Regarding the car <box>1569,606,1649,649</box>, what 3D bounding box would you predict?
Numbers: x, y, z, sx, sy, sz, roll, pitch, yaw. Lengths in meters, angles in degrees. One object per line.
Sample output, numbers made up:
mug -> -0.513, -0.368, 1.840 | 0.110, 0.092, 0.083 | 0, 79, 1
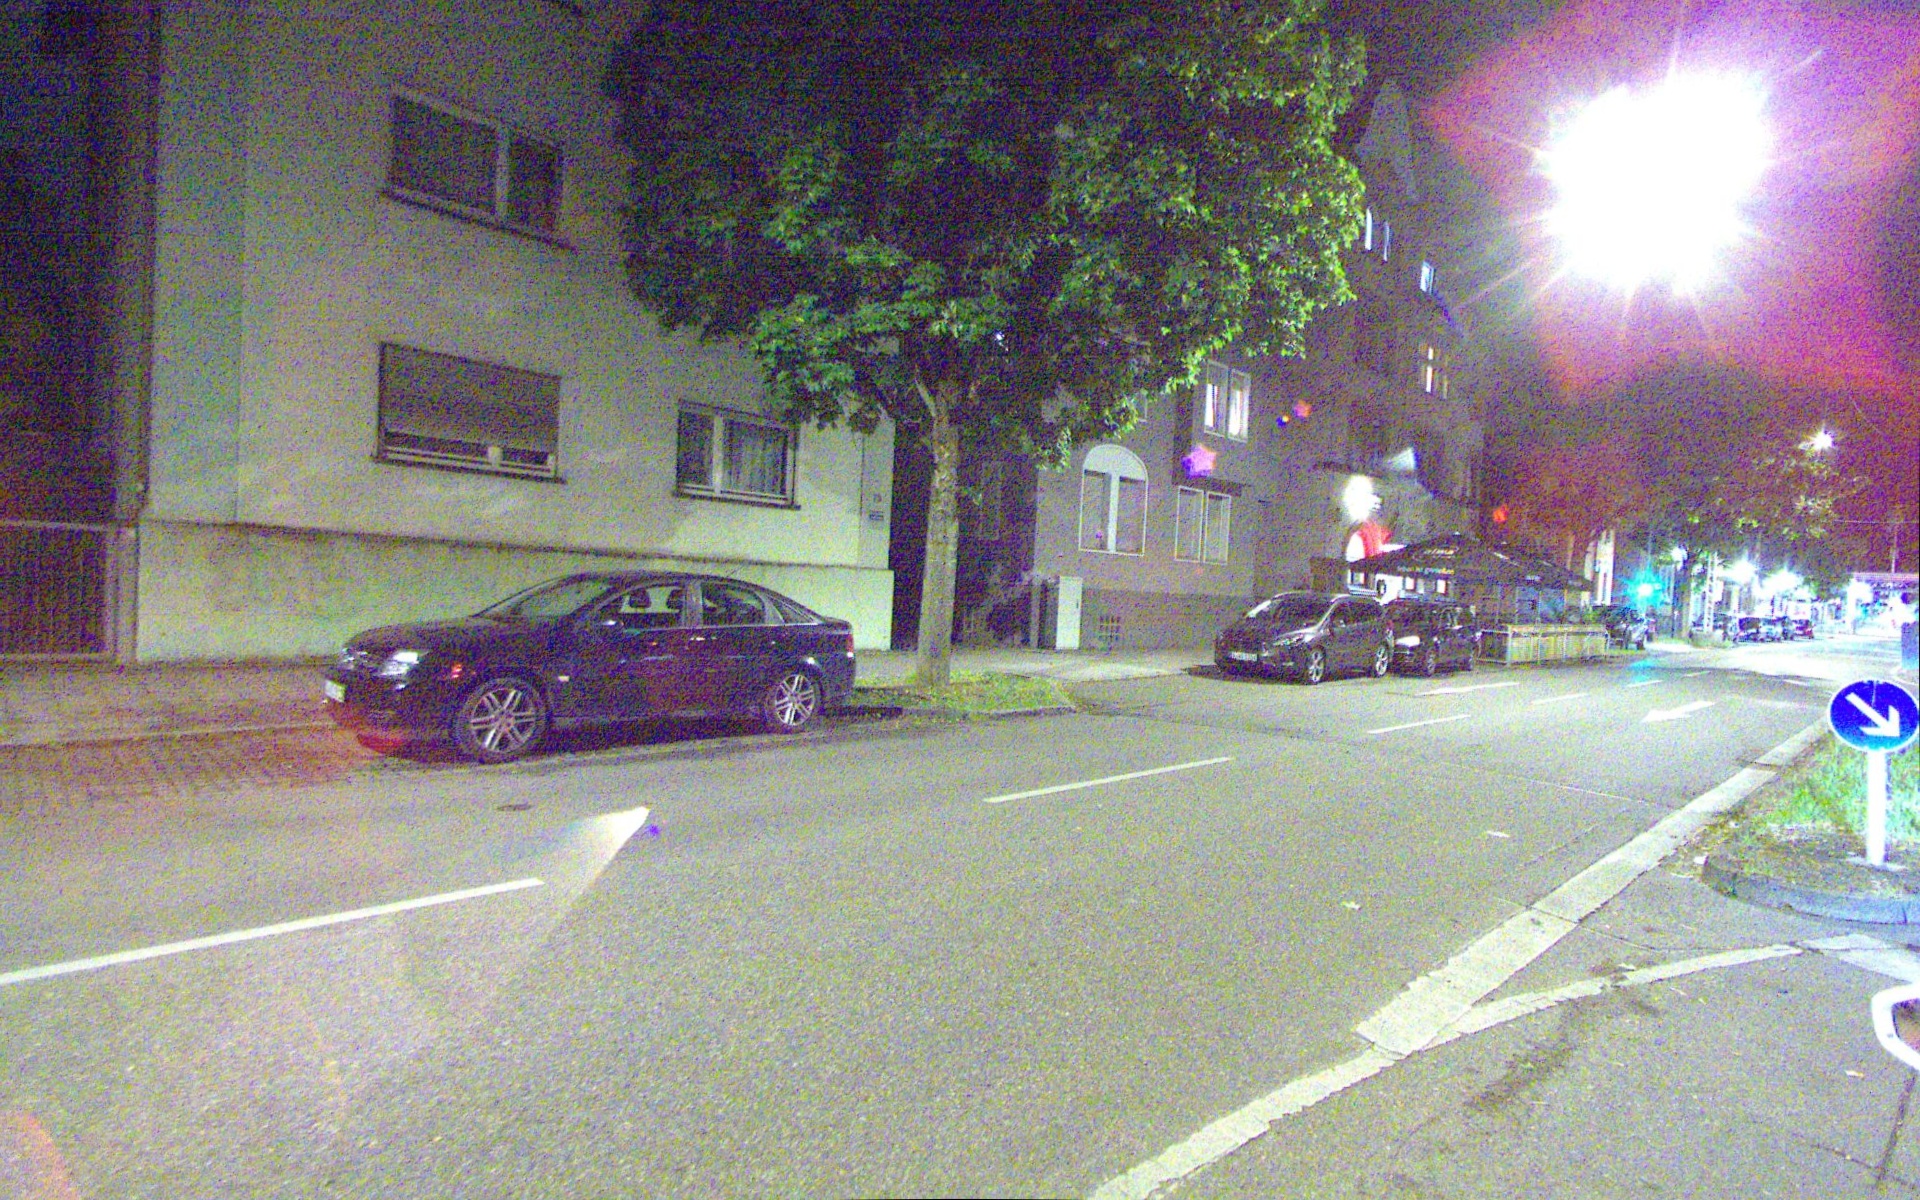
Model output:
car -> 23.824, 0.999, 36.812 | 1.634, 1.450, 3.974 | 3, 1, 45

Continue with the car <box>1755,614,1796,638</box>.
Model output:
car -> 54.062, 1.702, 66.562 | 1.634, 1.450, 3.974 | 3, 1, 45

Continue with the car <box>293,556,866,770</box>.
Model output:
car -> -3.020, 0.436, 8.789 | 1.604, 1.401, 4.428 | 3, 1, 42

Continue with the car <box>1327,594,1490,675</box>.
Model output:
car -> 9.704, 0.705, 21.574 | 1.785, 1.501, 4.296 | 4, 1, 44

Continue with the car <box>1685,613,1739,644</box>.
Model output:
car -> 39.053, 1.478, 52.131 | 1.634, 1.450, 3.974 | 3, 1, 45

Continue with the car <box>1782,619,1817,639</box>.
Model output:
car -> 63.715, 2.201, 76.201 | 1.634, 1.450, 3.974 | 3, 1, 45

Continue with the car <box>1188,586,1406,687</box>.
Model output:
car -> 6.165, 0.591, 18.097 | 4.423, 1.491, 1.880 | 1, 4, -45

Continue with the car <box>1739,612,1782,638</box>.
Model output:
car -> 49.353, 1.541, 61.915 | 1.634, 1.450, 3.974 | 3, 1, 45

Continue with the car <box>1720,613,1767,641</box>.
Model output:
car -> 44.905, 1.527, 57.539 | 1.634, 1.450, 3.974 | 3, 1, 45
